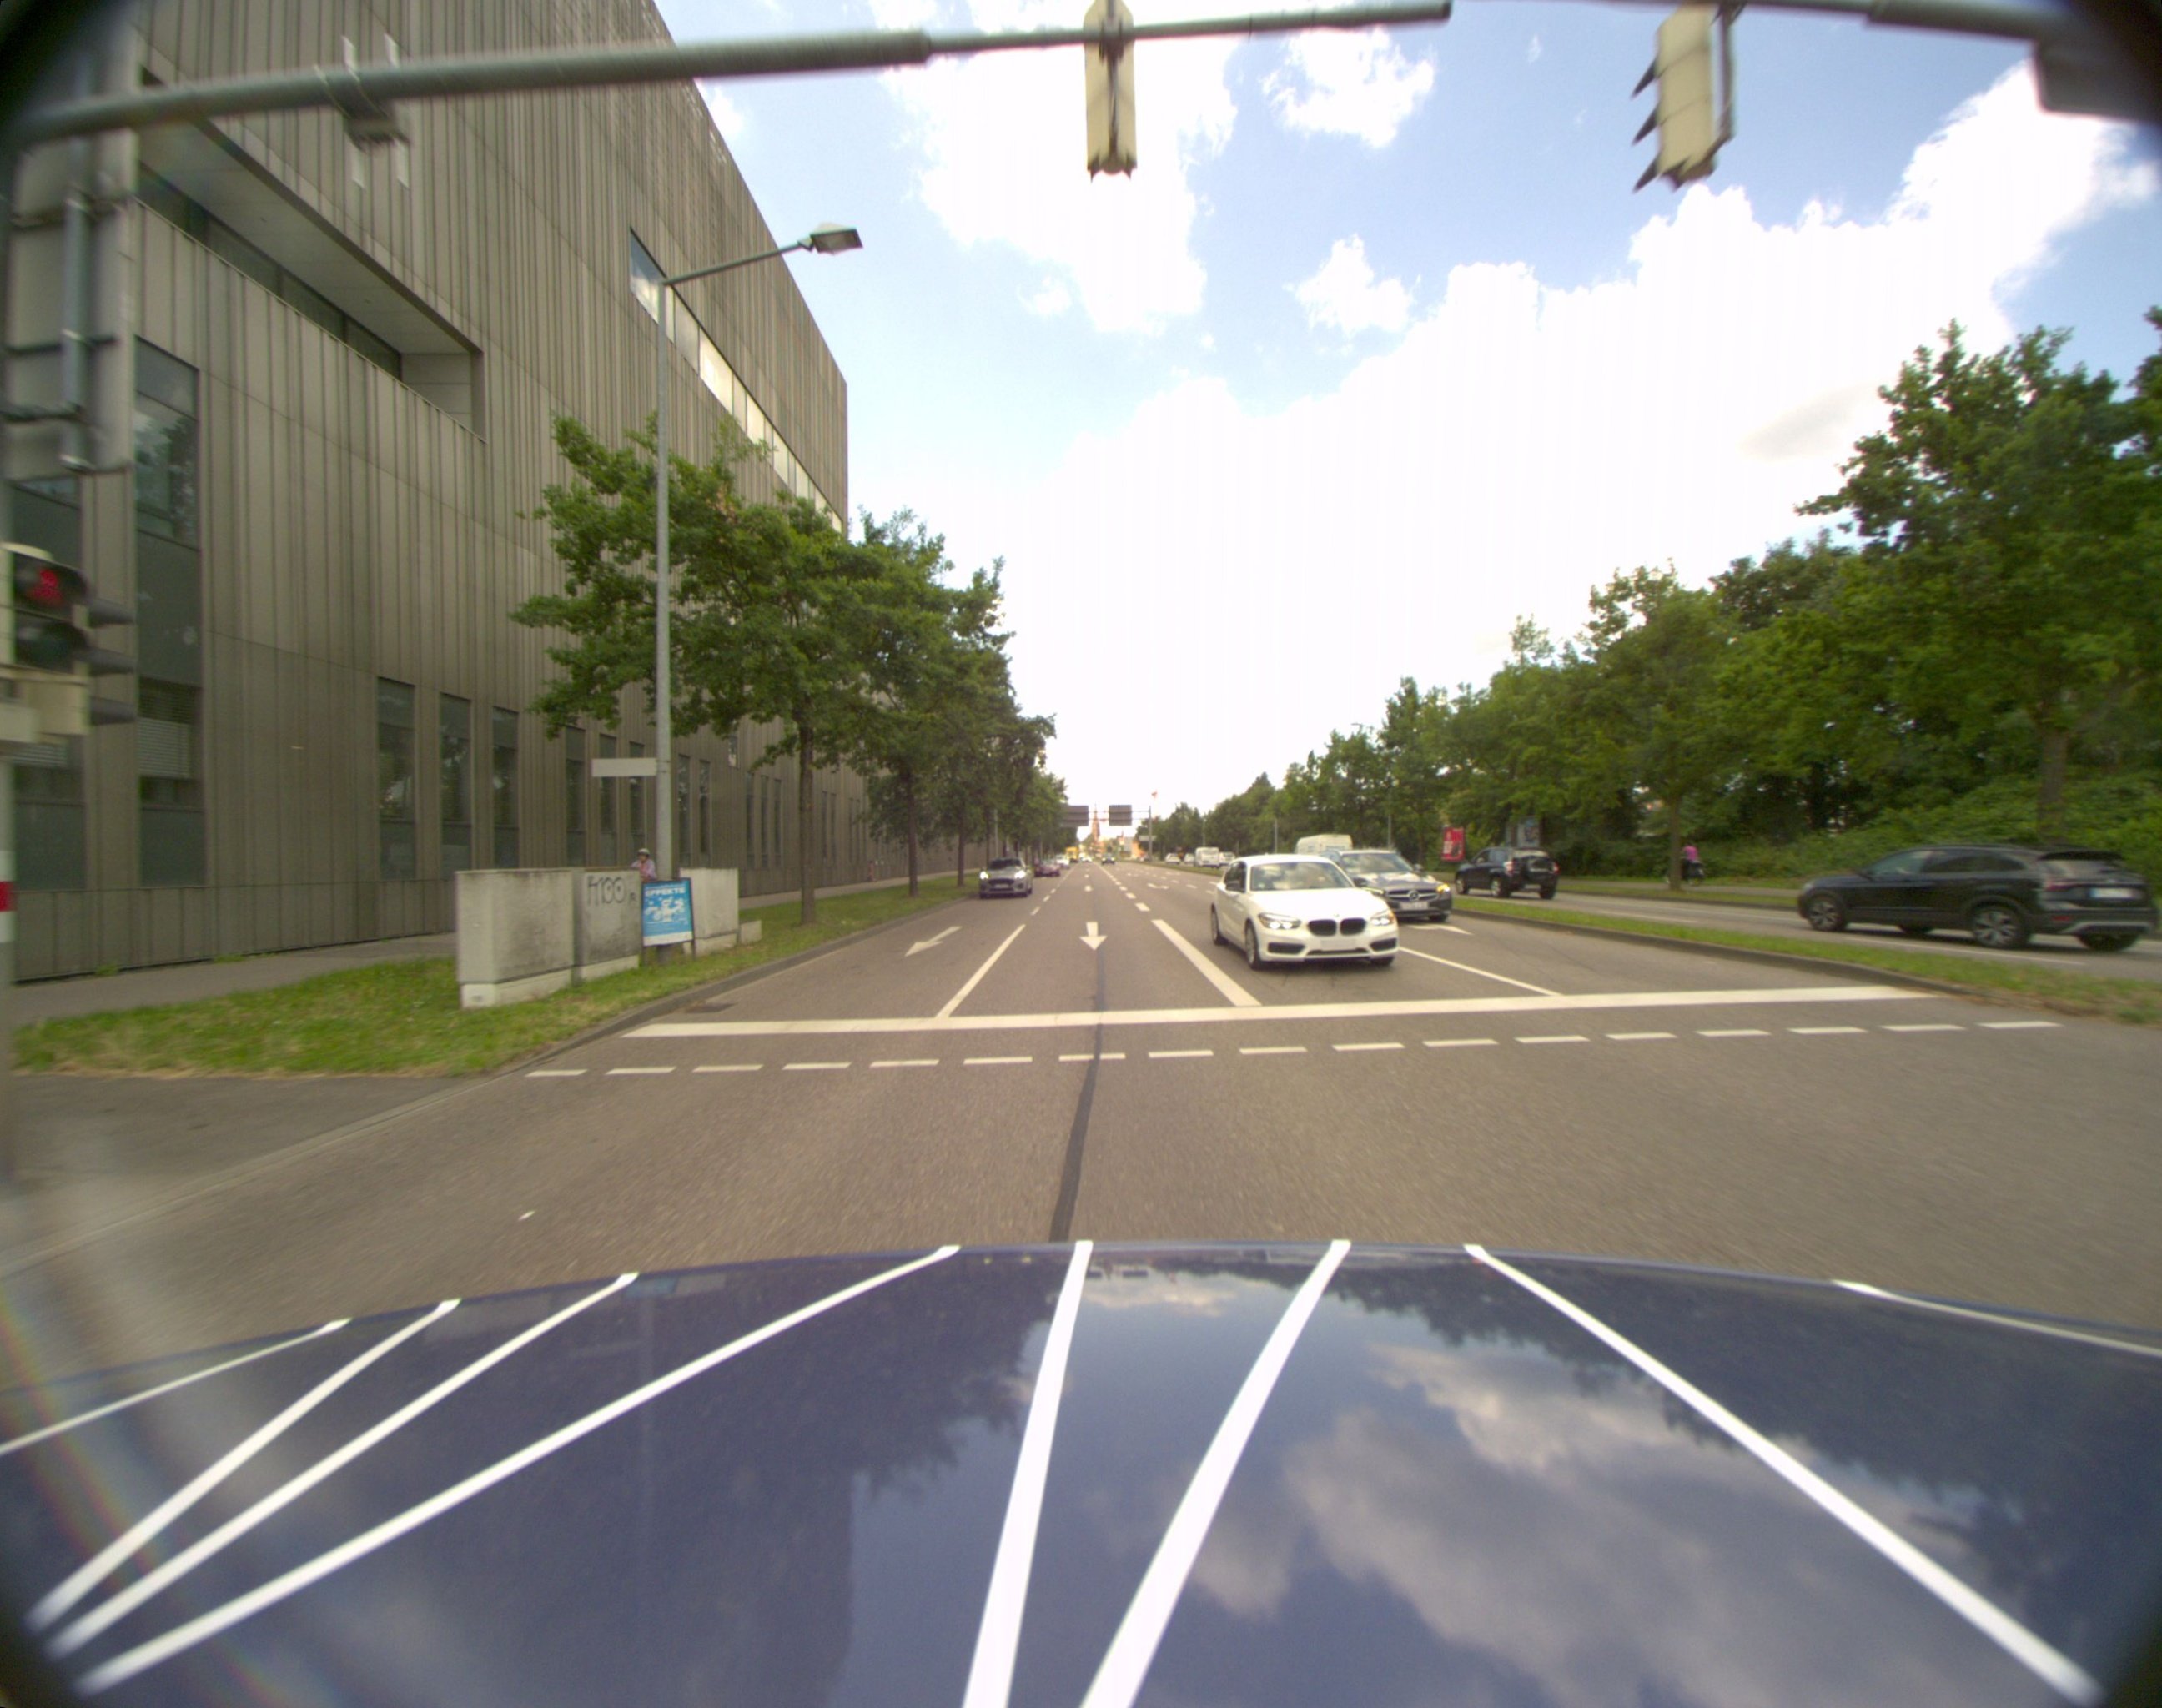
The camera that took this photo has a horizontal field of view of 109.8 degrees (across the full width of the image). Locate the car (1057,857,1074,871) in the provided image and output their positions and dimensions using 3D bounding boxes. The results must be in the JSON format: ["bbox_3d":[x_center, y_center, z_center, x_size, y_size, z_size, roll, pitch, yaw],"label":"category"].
[{"bbox_3d":[-1.707,1.055,84.906,1.713,1.487,3.650,0,0,1],"label":"car"}]

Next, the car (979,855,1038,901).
[{"bbox_3d":[-2.758,0.873,29.646,1.823,1.565,3.954,-2,0,1],"label":"car"}]

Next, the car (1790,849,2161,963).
[{"bbox_3d":[14.278,0.687,12.292,1.930,1.520,4.000,-1,0,1],"label":"car"}]

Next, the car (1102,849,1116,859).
[{"bbox_3d":[3.989,-0.025,108.584,1.782,1.487,3.598,0,0,1],"label":"car"}]

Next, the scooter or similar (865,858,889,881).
[{"bbox_3d":[-11.645,0.874,43.430,0.706,1.239,2.479,0,0,1],"label":"scooter or similar"}]

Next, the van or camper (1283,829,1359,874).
[{"bbox_3d":[14.703,-0.155,47.119,2.358,2.525,7.063,-1,0,0],"label":"van or camper"}]

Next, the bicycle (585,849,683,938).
[{"bbox_3d":[-9.604,0.780,16.466,0.721,1.763,2.533,0,1,-3],"label":"bicycle"}]

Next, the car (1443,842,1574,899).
[{"bbox_3d":[14.151,0.504,25.479,1.999,1.756,4.219,0,0,0],"label":"car"}]

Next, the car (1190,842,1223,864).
[{"bbox_3d":[11.941,-0.103,72.552,2.196,1.952,5.193,0,0,-1],"label":"car"}]

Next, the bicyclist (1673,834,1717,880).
[{"bbox_3d":[23.861,0.113,29.562,0.894,1.737,0.997,-2,1,2],"label":"bicyclist"}]

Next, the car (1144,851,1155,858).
[{"bbox_3d":[15.613,0.181,173.116,1.964,1.508,4.909,0,0,0],"label":"car"}]

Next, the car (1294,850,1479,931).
[{"bbox_3d":[6.185,0.648,16.125,1.998,1.407,4.832,-2,0,1],"label":"car"}]

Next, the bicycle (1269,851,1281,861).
[{"bbox_3d":[23.176,0.216,90.721,0.752,1.155,2.257,0,0,-3],"label":"bicycle"}]

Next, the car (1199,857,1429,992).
[{"bbox_3d":[2.988,0.809,10.809,1.920,1.406,4.295,-3,0,1],"label":"car"}]

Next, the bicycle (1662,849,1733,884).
[{"bbox_3d":[23.909,0.476,29.537,0.824,1.263,2.393,-2,1,1],"label":"bicycle"}]

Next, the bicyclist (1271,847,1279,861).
[{"bbox_3d":[23.170,-0.039,90.823,0.740,1.648,0.980,0,1,-4],"label":"bicyclist"}]

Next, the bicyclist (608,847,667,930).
[{"bbox_3d":[-9.611,0.721,16.502,0.717,1.759,0.988,0,1,-3],"label":"bicyclist"}]

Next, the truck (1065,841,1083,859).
[{"bbox_3d":[-1.263,-0.727,141.645,3.066,3.095,7.934,0,0,1],"label":"truck"}]

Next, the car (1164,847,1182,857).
[{"bbox_3d":[13.102,-0.287,108.558,1.998,1.423,5.024,0,0,1],"label":"car"}]

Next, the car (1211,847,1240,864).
[{"bbox_3d":[15.501,0.117,81.837,1.999,1.791,4.407,0,0,-4],"label":"car"}]

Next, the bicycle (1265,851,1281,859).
[{"bbox_3d":[27.164,0.151,107.322,0.665,1.009,2.143,-1,1,-44],"label":"bicycle"}]

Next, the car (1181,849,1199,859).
[{"bbox_3d":[16.308,-0.037,113.975,1.919,1.434,4.414,1,0,0],"label":"car"}]
